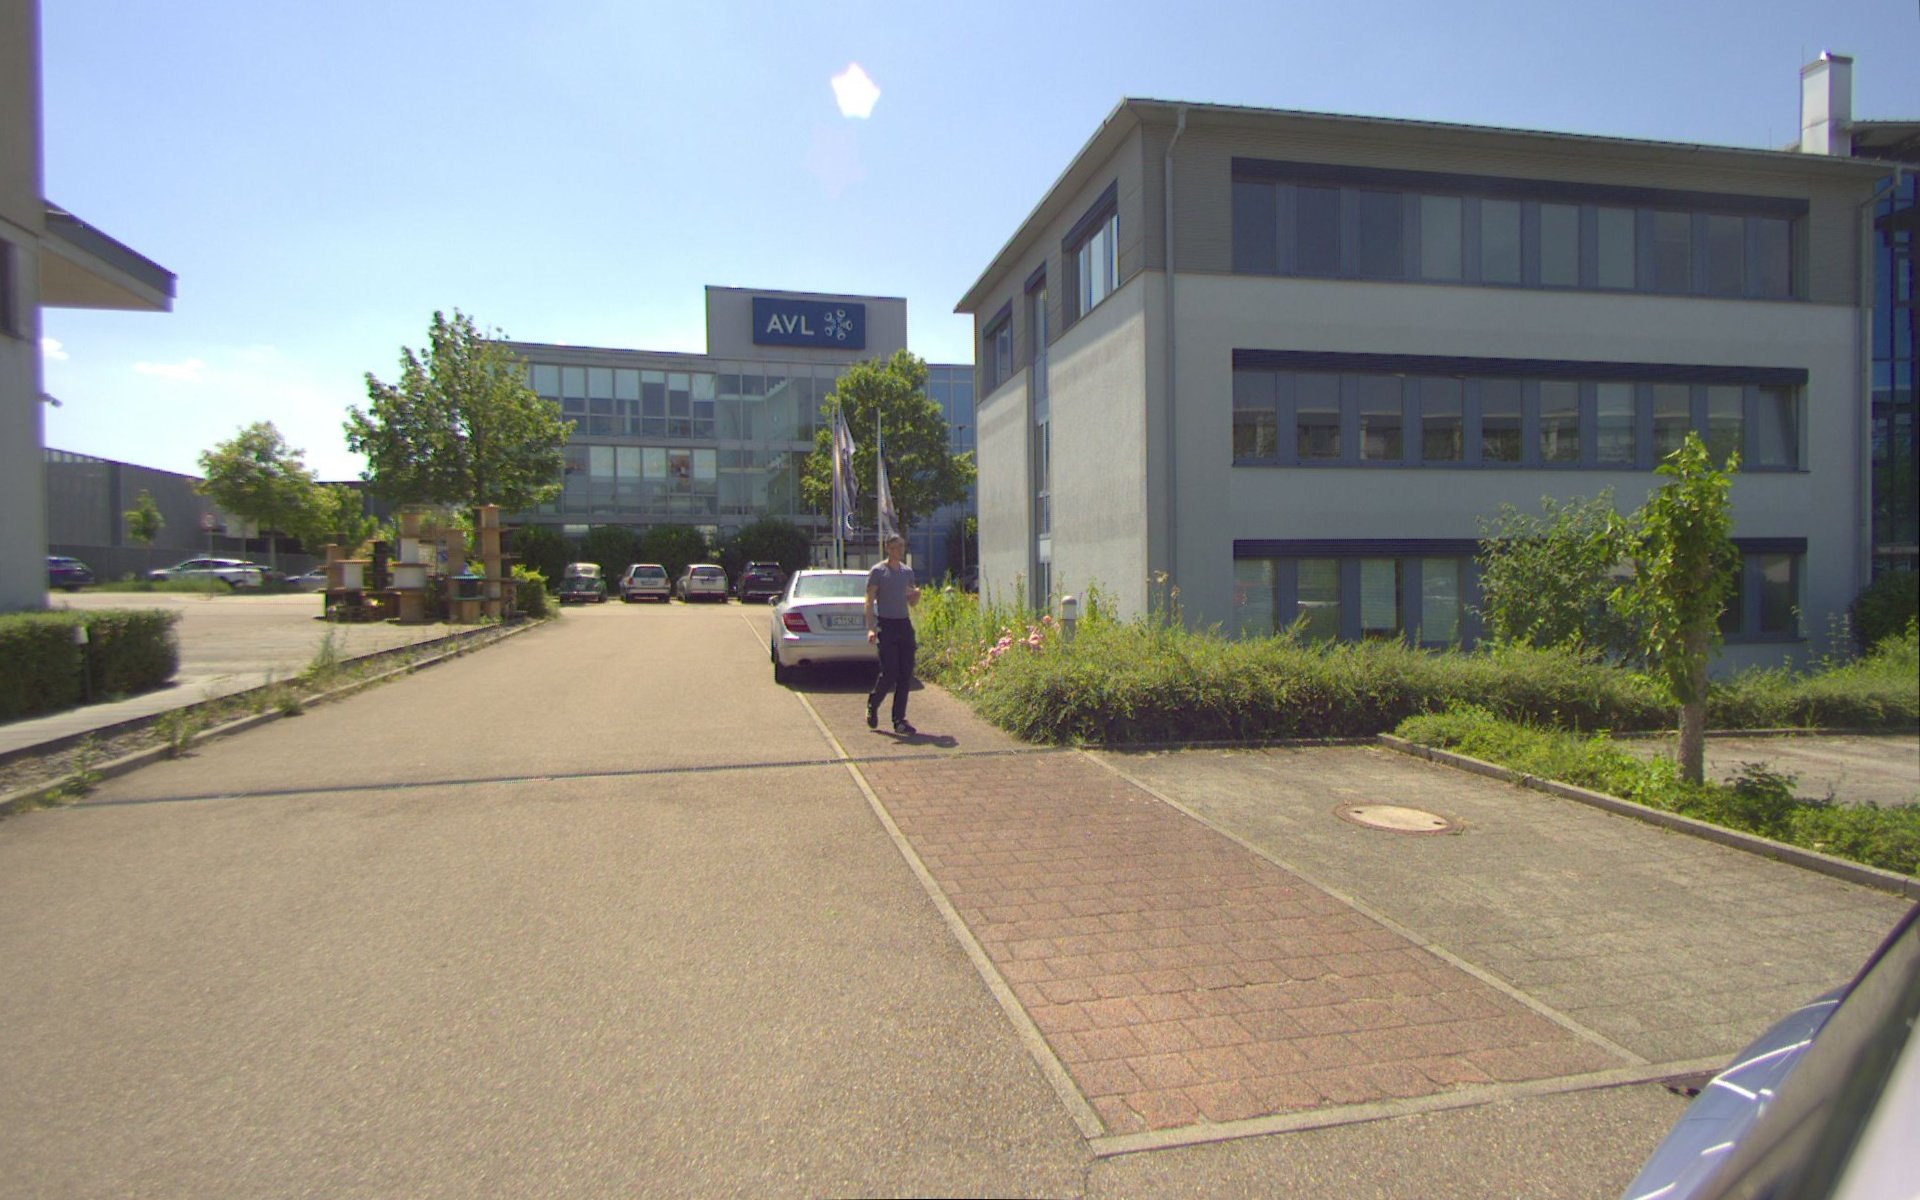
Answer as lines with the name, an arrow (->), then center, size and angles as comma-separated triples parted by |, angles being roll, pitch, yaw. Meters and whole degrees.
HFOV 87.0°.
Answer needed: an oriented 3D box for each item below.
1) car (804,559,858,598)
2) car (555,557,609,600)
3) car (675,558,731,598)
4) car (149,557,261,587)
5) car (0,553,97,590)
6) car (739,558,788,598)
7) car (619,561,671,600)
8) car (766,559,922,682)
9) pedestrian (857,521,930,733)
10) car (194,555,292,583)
car -> -5.385, -0.894, 41.792 | 1.713, 1.538, 4.009 | 0, 1, -15
car -> -14.454, -0.824, 38.829 | 1.713, 1.538, 4.009 | 0, 1, -17
car -> -10.385, -0.889, 40.747 | 1.713, 1.538, 4.008 | 0, 1, -21
car -> -38.051, -1.387, 51.075 | 4.362, 1.433, 1.750 | 0, 0, -1
car -> -37.998, -1.141, 41.132 | 4.363, 1.433, 1.749 | 0, 0, 0
car -> -8.016, -0.874, 41.021 | 1.713, 1.538, 4.009 | 0, 1, -15
car -> -12.373, -0.767, 39.605 | 1.639, 1.458, 4.008 | 0, 1, -21
car -> -1.720, 0.203, 13.945 | 1.693, 1.454, 3.724 | 0, 1, -13
pedestrian -> -0.590, 0.222, 8.922 | 0.606, 1.779, 0.789 | 0, 1, -4
car -> -38.331, -1.663, 54.153 | 3.988, 1.433, 1.750 | 0, 0, -1
